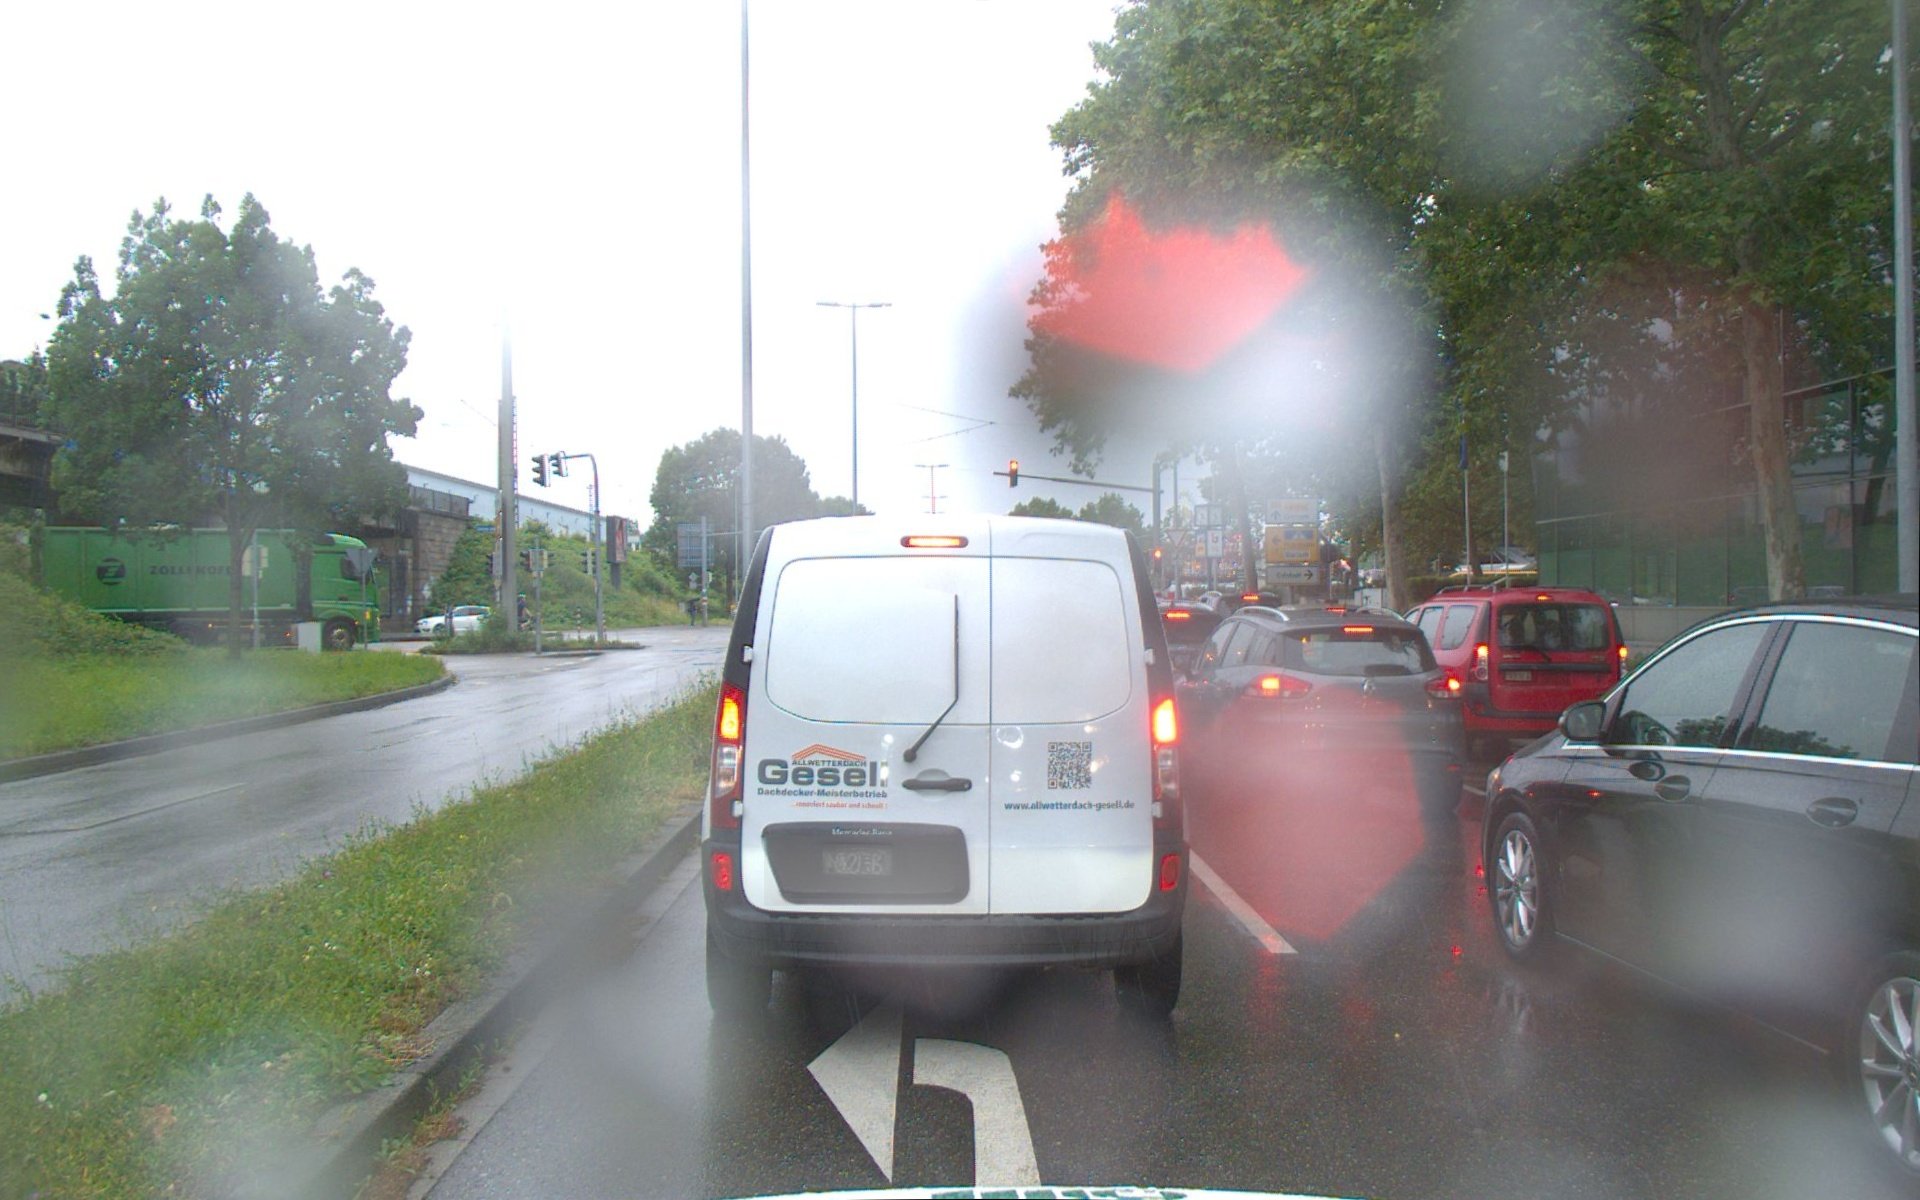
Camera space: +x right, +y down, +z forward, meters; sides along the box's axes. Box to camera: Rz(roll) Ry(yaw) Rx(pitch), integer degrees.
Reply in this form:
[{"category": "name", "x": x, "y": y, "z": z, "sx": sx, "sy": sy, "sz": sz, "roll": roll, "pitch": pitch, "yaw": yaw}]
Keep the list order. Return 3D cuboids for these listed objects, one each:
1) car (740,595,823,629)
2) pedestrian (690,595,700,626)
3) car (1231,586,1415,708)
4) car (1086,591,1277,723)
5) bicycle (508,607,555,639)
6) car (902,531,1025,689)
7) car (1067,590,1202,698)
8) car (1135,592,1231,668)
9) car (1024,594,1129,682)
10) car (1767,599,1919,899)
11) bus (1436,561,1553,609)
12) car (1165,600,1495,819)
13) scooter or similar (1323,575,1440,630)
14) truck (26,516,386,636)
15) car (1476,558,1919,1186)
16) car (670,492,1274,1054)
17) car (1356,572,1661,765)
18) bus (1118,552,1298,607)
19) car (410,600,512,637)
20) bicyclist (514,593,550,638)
[{"category": "car", "x": -9.437, "y": 0.637, "z": 87.696, "sx": 3.956, "sy": 1.747, "sz": 1.974, "roll": 0, "pitch": 0, "yaw": -37}, {"category": "pedestrian", "x": -15.368, "y": 0.618, "z": 95.954, "sx": 0.532, "sy": 1.746, "sz": 0.563, "roll": 1, "pitch": -1, "yaw": -5}, {"category": "car", "x": 5.429, "y": 0.648, "z": 25.265, "sx": 1.838, "sy": 1.641, "sz": 3.999, "roll": 2, "pitch": 1, "yaw": -1}, {"category": "car", "x": 2.659, "y": 0.636, "z": 20.656, "sx": 1.816, "sy": 1.486, "sz": 3.842, "roll": 0, "pitch": 0, "yaw": -1}, {"category": "bicycle", "x": -14.341, "y": 0.756, "z": 55.343, "sx": 1.027, "sy": 0.968, "sz": 2.866, "roll": -1, "pitch": 1, "yaw": -25}, {"category": "car", "x": 0.028, "y": 0.129, "z": 26.358, "sx": 1.816, "sy": 2.336, "sz": 3.842, "roll": 0, "pitch": 0, "yaw": -1}, {"category": "car", "x": 2.870, "y": 0.678, "z": 27.886, "sx": 1.816, "sy": 1.678, "sz": 3.842, "roll": 0, "pitch": 0, "yaw": -1}, {"category": "car", "x": 5.167, "y": 0.679, "z": 38.695, "sx": 1.674, "sy": 1.678, "sz": 3.842, "roll": 1, "pitch": 0, "yaw": -1}, {"category": "car", "x": 2.305, "y": 0.730, "z": 33.540, "sx": 1.816, "sy": 1.678, "sz": 3.842, "roll": 0, "pitch": 0, "yaw": -1}, {"category": "car", "x": 5.573, "y": 0.756, "z": 8.058, "sx": 1.537, "sy": 1.488, "sz": 3.388, "roll": 0, "pitch": 0, "yaw": -2}, {"category": "bus", "x": 41.111, "y": -1.182, "z": 127.006, "sx": 11.891, "sy": 3.483, "sz": 2.449, "roll": -2, "pitch": 1, "yaw": -39}, {"category": "car", "x": 2.749, "y": 0.745, "z": 13.118, "sx": 1.649, "sy": 1.433, "sz": 3.842, "roll": 1, "pitch": 0, "yaw": -2}, {"category": "scooter or similar", "x": 19.666, "y": 0.101, "z": 77.354, "sx": 1.878, "sy": 2.489, "sz": 5.239, "roll": 0, "pitch": 0, "yaw": -41}, {"category": "truck", "x": -23.165, "y": -0.728, "z": 51.328, "sx": 9.957, "sy": 3.430, "sz": 2.316, "roll": 0, "pitch": 0, "yaw": -37}, {"category": "car", "x": 3.243, "y": 0.687, "z": 5.441, "sx": 1.712, "sy": 1.582, "sz": 4.089, "roll": 0, "pitch": 0, "yaw": -2}, {"category": "car", "x": 0.010, "y": 0.538, "z": 7.636, "sx": 1.953, "sy": 1.807, "sz": 4.584, "roll": 0, "pitch": 0, "yaw": -1}, {"category": "car", "x": 5.505, "y": 0.645, "z": 17.183, "sx": 1.676, "sy": 1.724, "sz": 4.271, "roll": 1, "pitch": -1, "yaw": -1}, {"category": "bus", "x": 16.592, "y": -1.395, "z": 111.145, "sx": 11.727, "sy": 3.483, "sz": 2.315, "roll": -1, "pitch": 1, "yaw": -1}, {"category": "car", "x": -23.416, "y": 0.838, "z": 77.647, "sx": 4.201, "sy": 1.624, "sz": 1.975, "roll": -1, "pitch": 0, "yaw": -36}, {"category": "bicyclist", "x": -14.305, "y": 0.507, "z": 55.248, "sx": 1.028, "sy": 1.475, "sz": 0.723, "roll": -1, "pitch": 1, "yaw": -26}]
